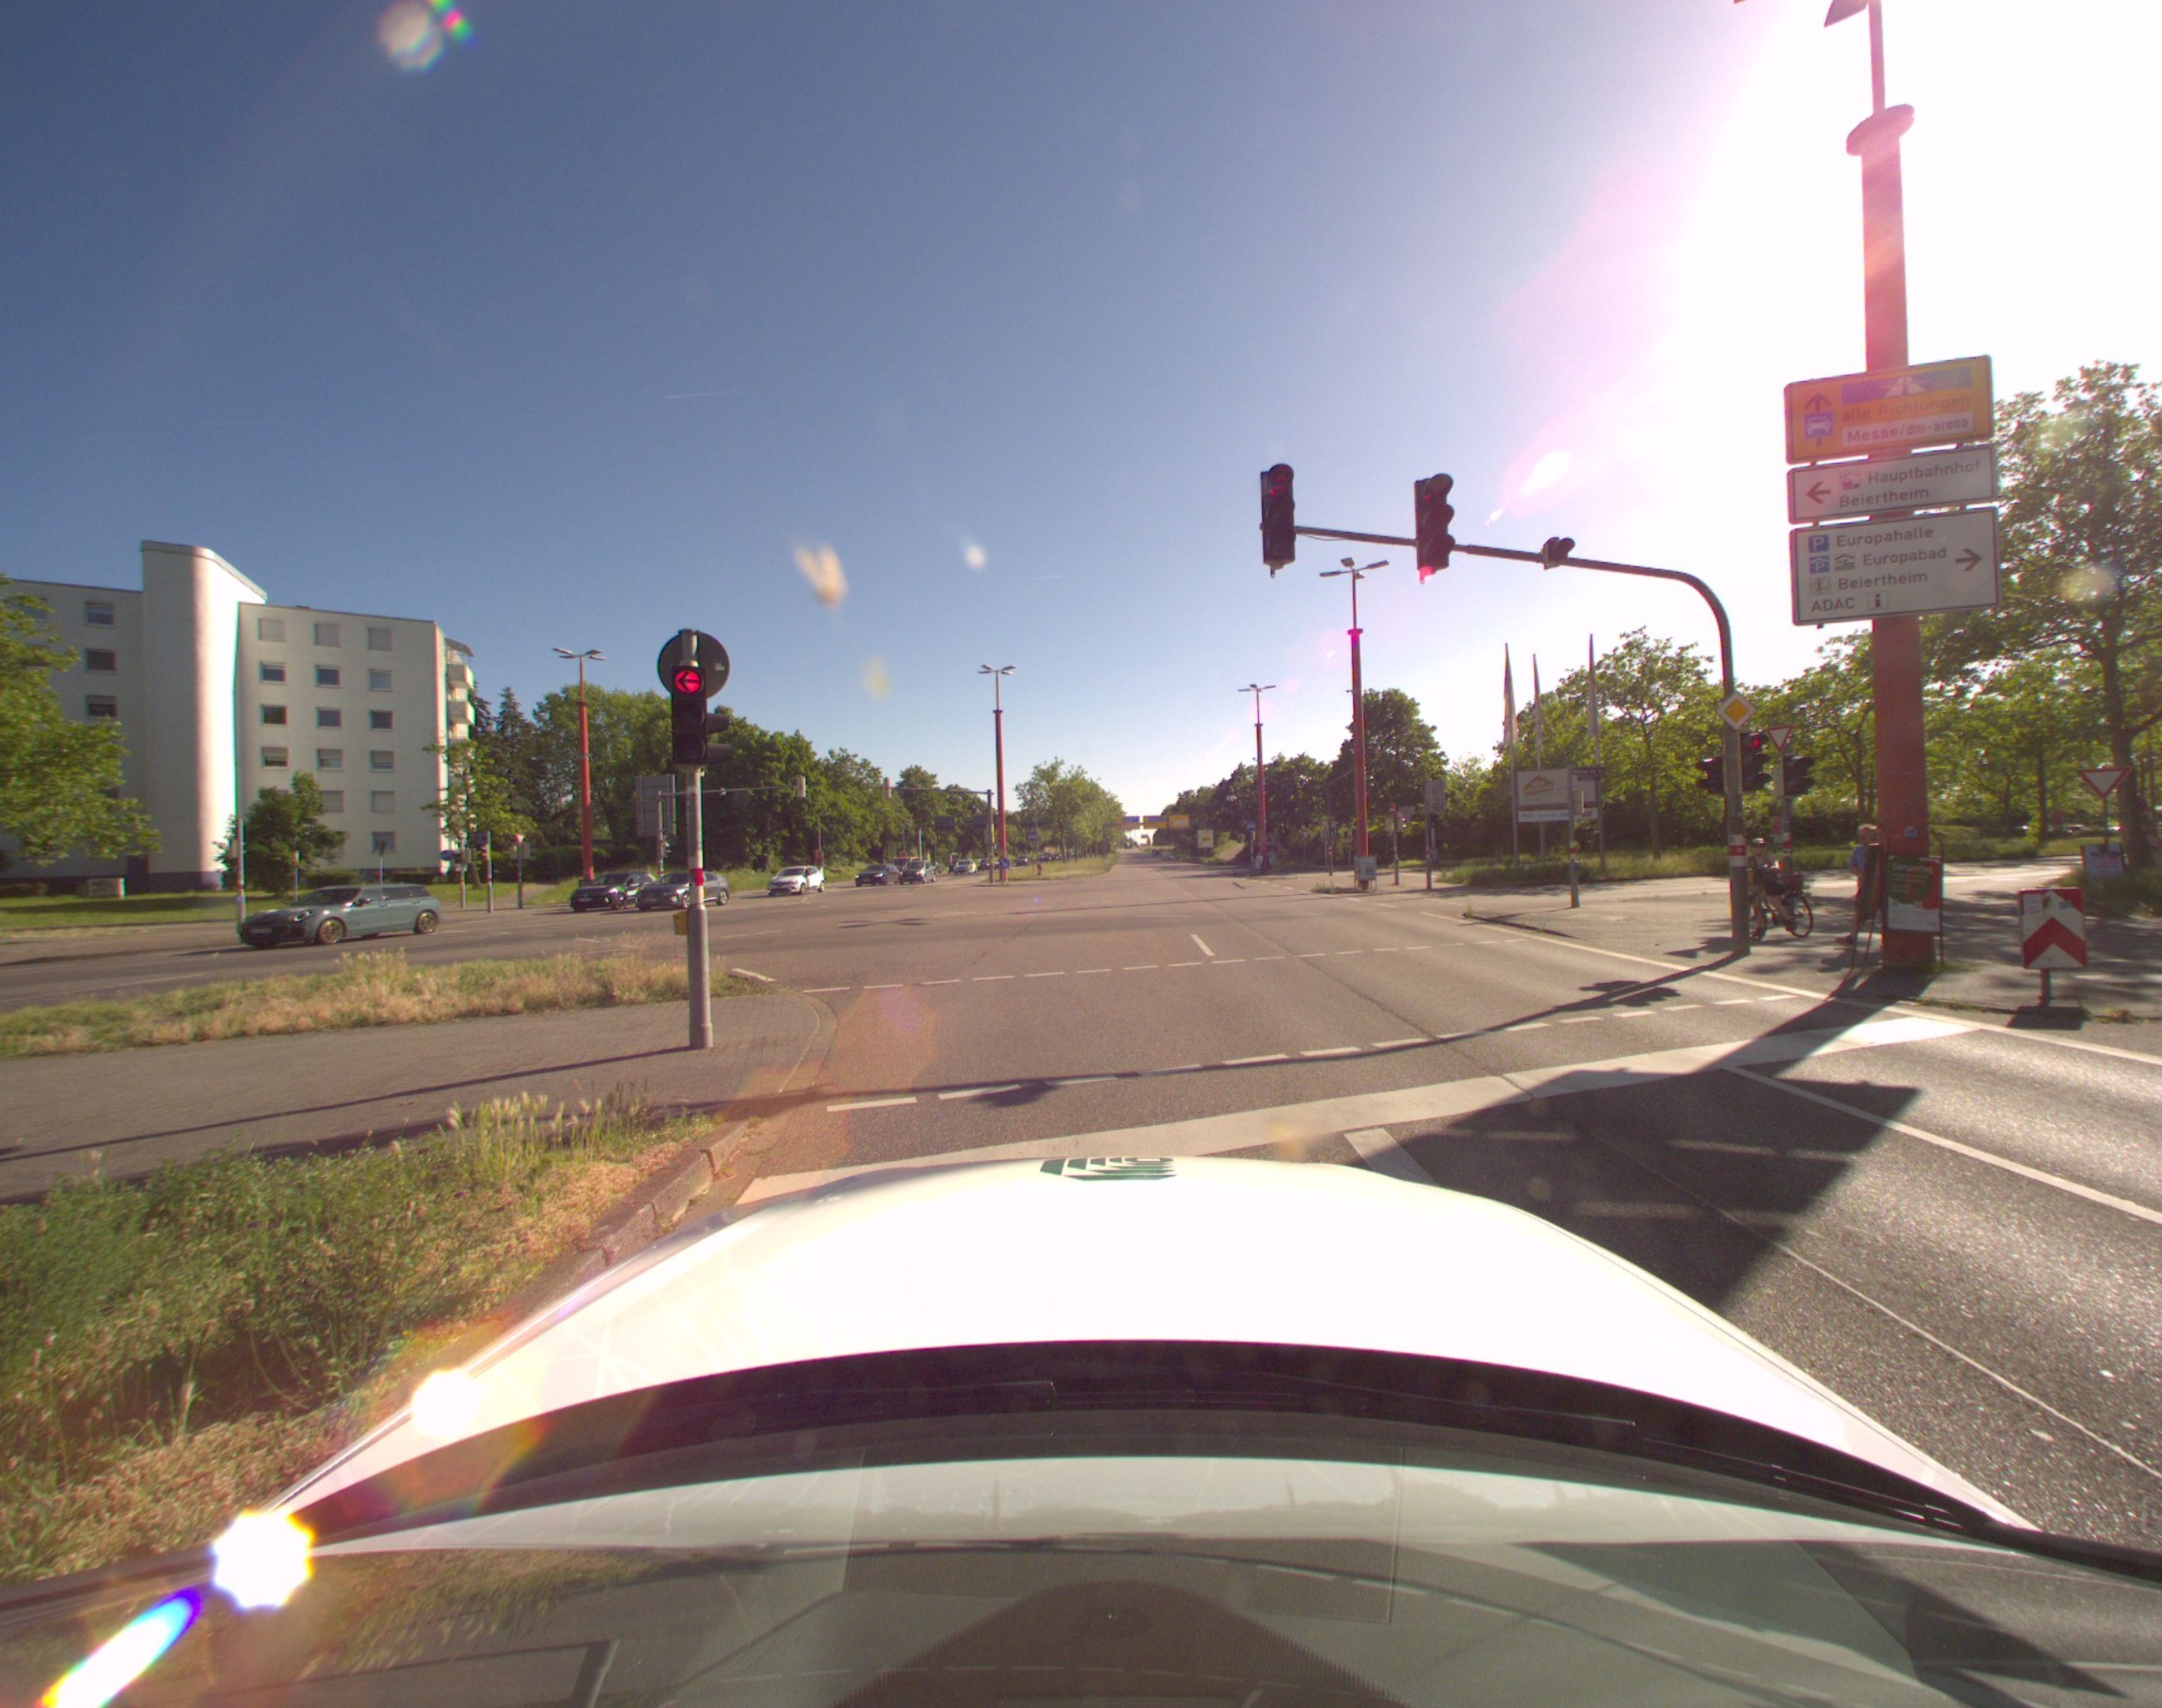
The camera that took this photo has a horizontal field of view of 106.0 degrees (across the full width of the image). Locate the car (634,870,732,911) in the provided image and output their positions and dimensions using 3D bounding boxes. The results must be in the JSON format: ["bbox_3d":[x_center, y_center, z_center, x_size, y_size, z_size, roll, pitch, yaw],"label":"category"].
[{"bbox_3d":[-15.387,1.378,31.746,1.542,1.377,4.265,-2,0,3],"label":"car"}]

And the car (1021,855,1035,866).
[{"bbox_3d":[-8.338,1.057,128.991,1.618,1.739,4.004,-2,0,4],"label":"car"}]

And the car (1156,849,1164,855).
[{"bbox_3d":[20.773,-0.545,214.213,1.730,1.341,3.084,-2,0,3],"label":"car"}]

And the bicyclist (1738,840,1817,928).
[{"bbox_3d":[11.094,0.466,12.986,0.743,1.341,0.701,-1,0,-27],"label":"bicyclist"}]

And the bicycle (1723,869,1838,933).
[{"bbox_3d":[11.126,0.720,12.937,2.173,0.878,0.555,-2,0,-26],"label":"bicycle"}]

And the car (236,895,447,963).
[{"bbox_3d":[-18.727,1.840,20.921,1.424,1.388,4.144,-1,-1,4],"label":"car"}]

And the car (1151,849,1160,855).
[{"bbox_3d":[22.048,-0.563,240.076,1.990,1.496,3.993,-2,0,-5],"label":"car"}]

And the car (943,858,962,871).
[{"bbox_3d":[-15.405,1.247,97.823,1.622,1.450,3.437,-1,-1,3],"label":"car"}]

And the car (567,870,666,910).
[{"bbox_3d":[-18.748,1.421,33.061,1.537,1.433,3.889,-3,-1,3],"label":"car"}]

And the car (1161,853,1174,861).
[{"bbox_3d":[16.429,0.524,155.216,2.047,1.371,4.393,-2,0,1],"label":"car"}]

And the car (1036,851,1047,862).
[{"bbox_3d":[-7.918,0.524,165.135,1.997,2.014,4.000,-1,-1,0],"label":"car"}]

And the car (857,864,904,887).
[{"bbox_3d":[-13.216,1.405,53.925,1.621,1.368,4.801,-2,0,4],"label":"car"}]

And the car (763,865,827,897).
[{"bbox_3d":[-14.566,1.354,41.694,1.598,1.459,3.954,-2,0,4],"label":"car"}]

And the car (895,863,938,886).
[{"bbox_3d":[-10.615,1.304,52.793,1.693,1.421,4.003,1,-1,3],"label":"car"}]

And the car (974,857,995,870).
[{"bbox_3d":[-11.521,1.146,97.403,1.696,1.558,3.807,-1,-1,4],"label":"car"}]

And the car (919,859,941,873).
[{"bbox_3d":[-18.436,1.447,99.502,1.988,1.638,3.998,-1,-1,-1],"label":"car"}]

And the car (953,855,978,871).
[{"bbox_3d":[-11.916,0.943,84.057,1.696,1.596,4.004,-1,-1,4],"label":"car"}]

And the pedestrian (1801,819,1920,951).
[{"bbox_3d":[11.182,0.419,11.703,0.893,1.788,0.895,-1,0,-17],"label":"pedestrian"}]

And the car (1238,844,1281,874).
[{"bbox_3d":[11.794,0.315,53.659,1.976,1.887,4.022,-2,0,24],"label":"car"}]

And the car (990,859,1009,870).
[{"bbox_3d":[-10.958,1.425,109.476,1.997,1.308,4.000,-2,0,0],"label":"car"}]

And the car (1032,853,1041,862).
[{"bbox_3d":[-10.179,0.833,186.366,1.997,2.014,4.000,-1,-1,0],"label":"car"}]

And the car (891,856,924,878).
[{"bbox_3d":[-15.950,1.188,75.209,1.750,1.987,4.793,-1,-1,3],"label":"car"}]
